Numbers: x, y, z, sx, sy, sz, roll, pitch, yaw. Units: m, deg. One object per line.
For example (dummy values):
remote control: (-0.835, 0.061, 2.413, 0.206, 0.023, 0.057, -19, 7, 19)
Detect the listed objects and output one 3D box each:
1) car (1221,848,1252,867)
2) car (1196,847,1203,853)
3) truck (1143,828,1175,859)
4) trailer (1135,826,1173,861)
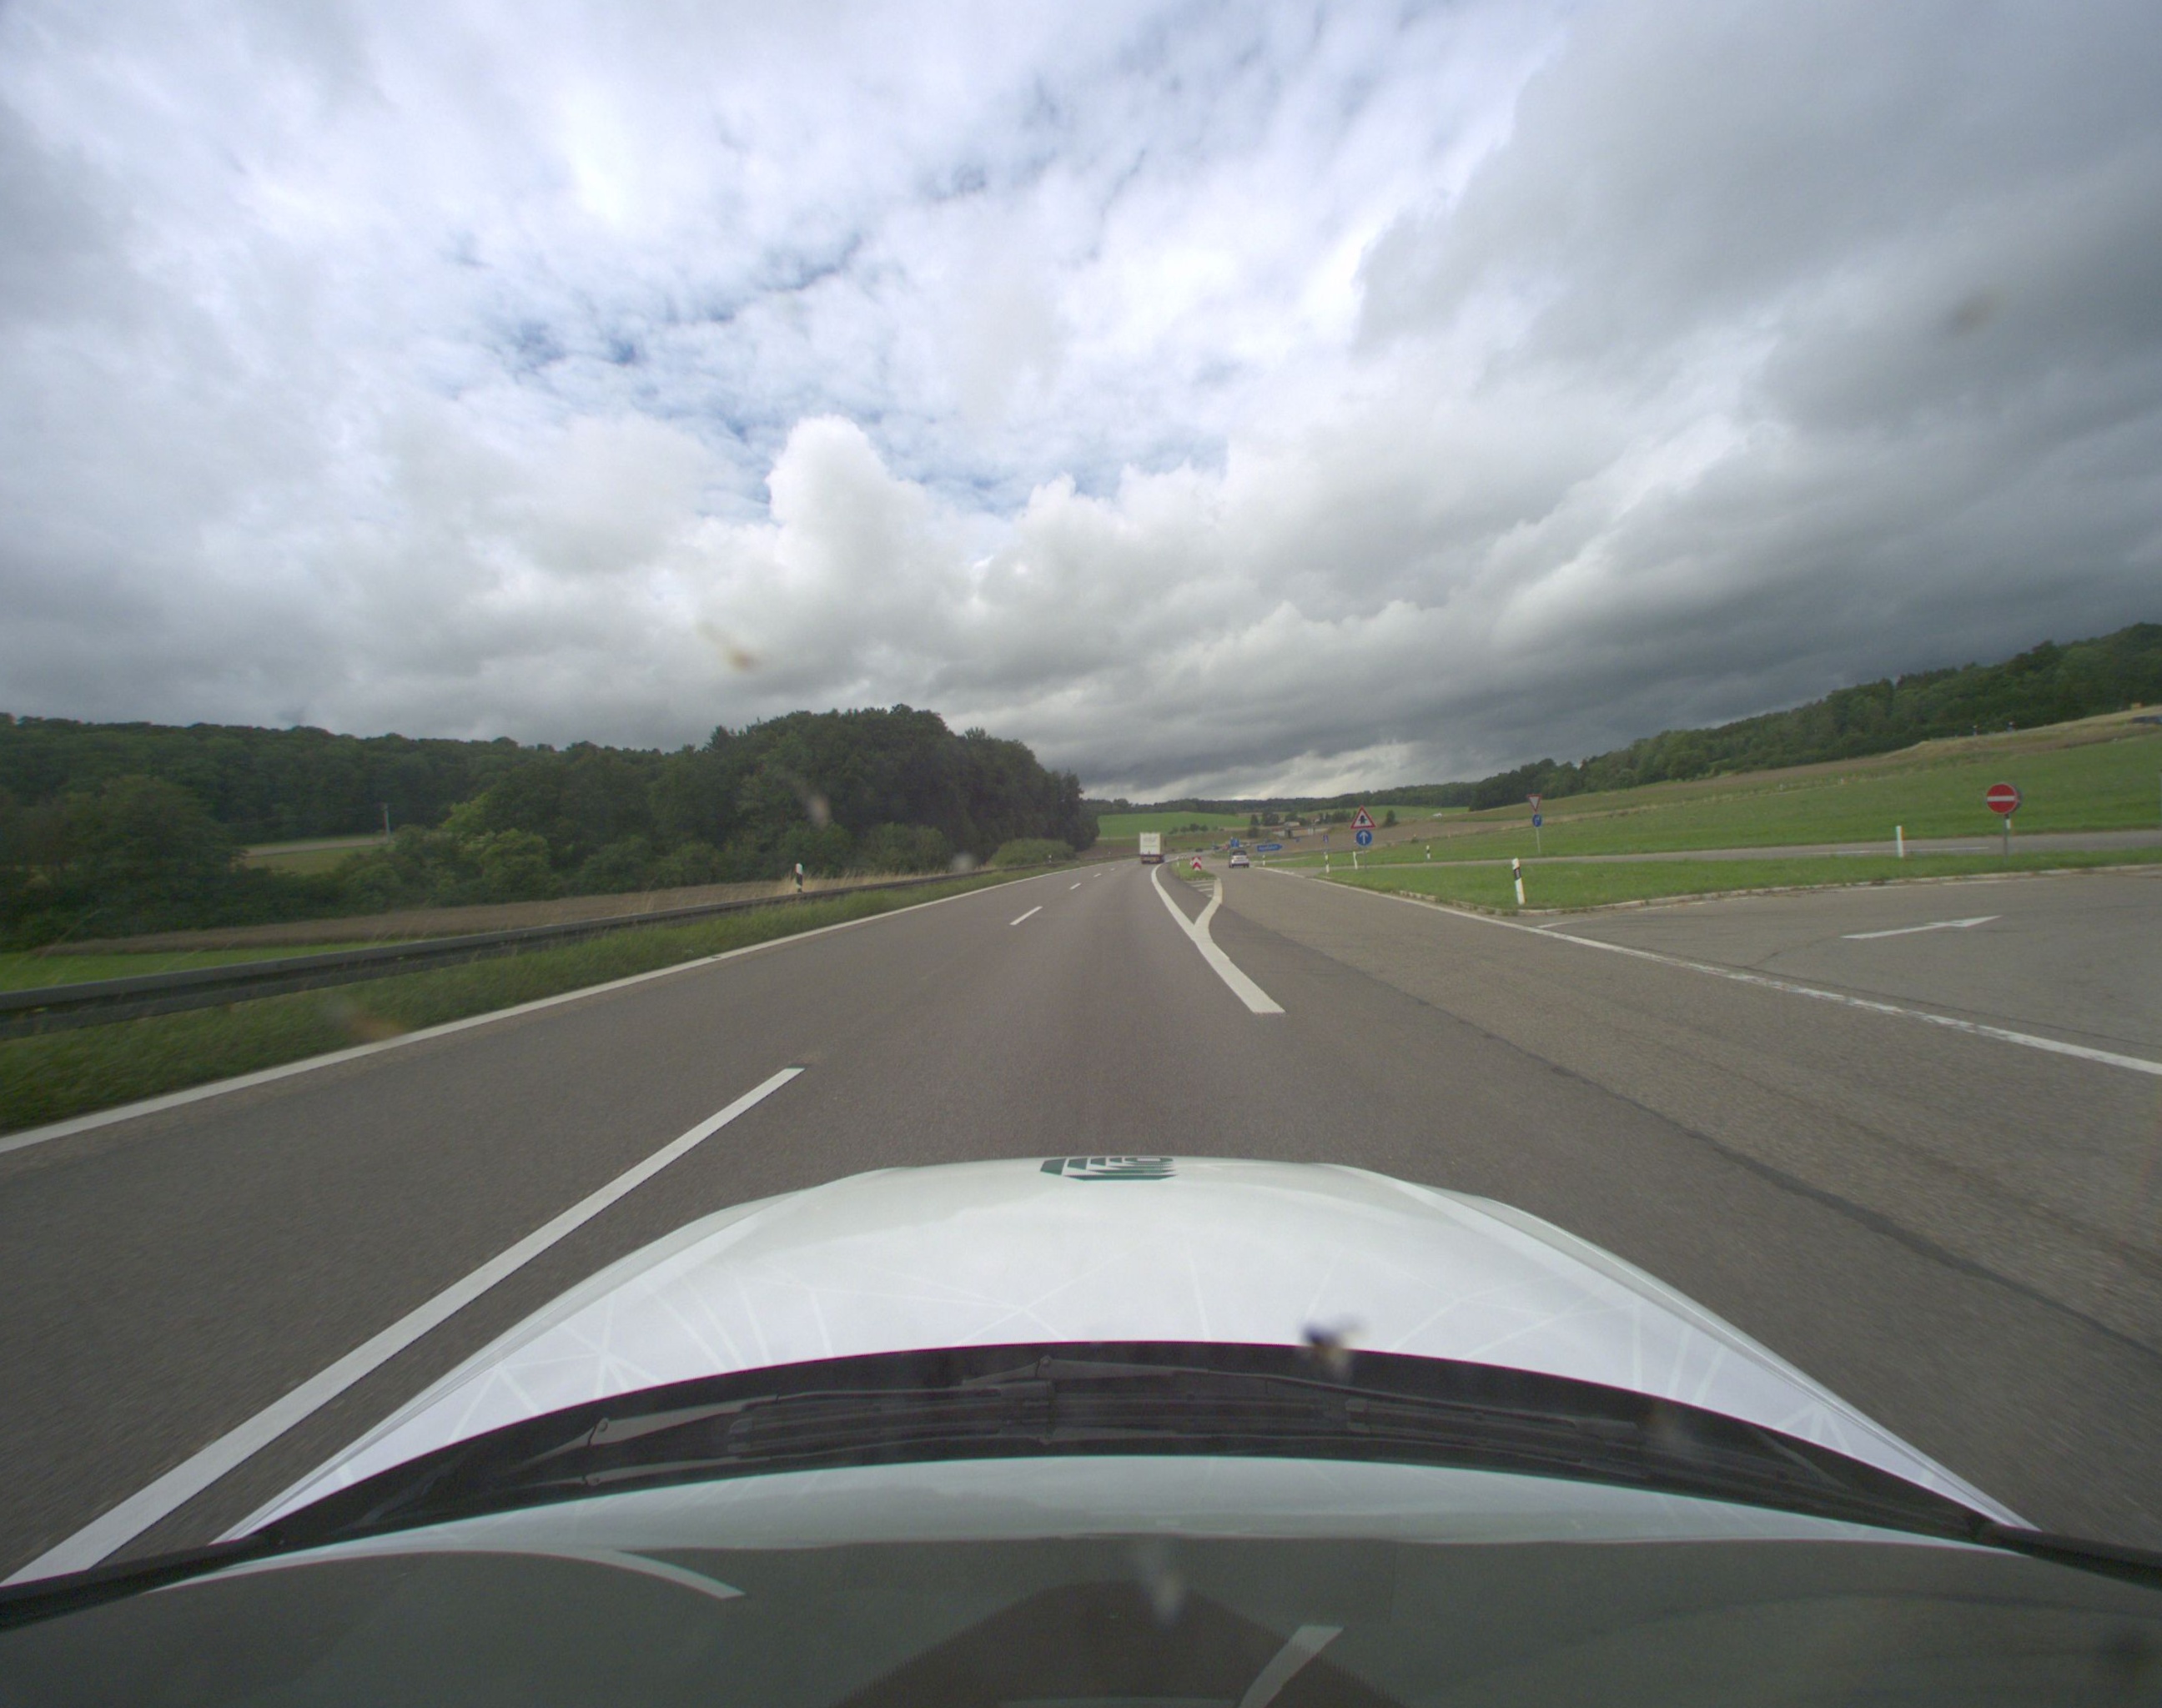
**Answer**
car: (13.731, 0.304, 72.137, 1.773, 1.552, 3.997, -2, 0, -2)
car: (36.939, -1.193, 252.962, 1.890, 1.795, 4.012, -2, -2, 12)
truck: (10.843, -1.408, 112.940, 3.765, 4.131, 8.287, 0, 0, 10)
trailer: (9.726, -1.308, 106.272, 3.783, 4.174, 14.847, -1, 0, 9)
